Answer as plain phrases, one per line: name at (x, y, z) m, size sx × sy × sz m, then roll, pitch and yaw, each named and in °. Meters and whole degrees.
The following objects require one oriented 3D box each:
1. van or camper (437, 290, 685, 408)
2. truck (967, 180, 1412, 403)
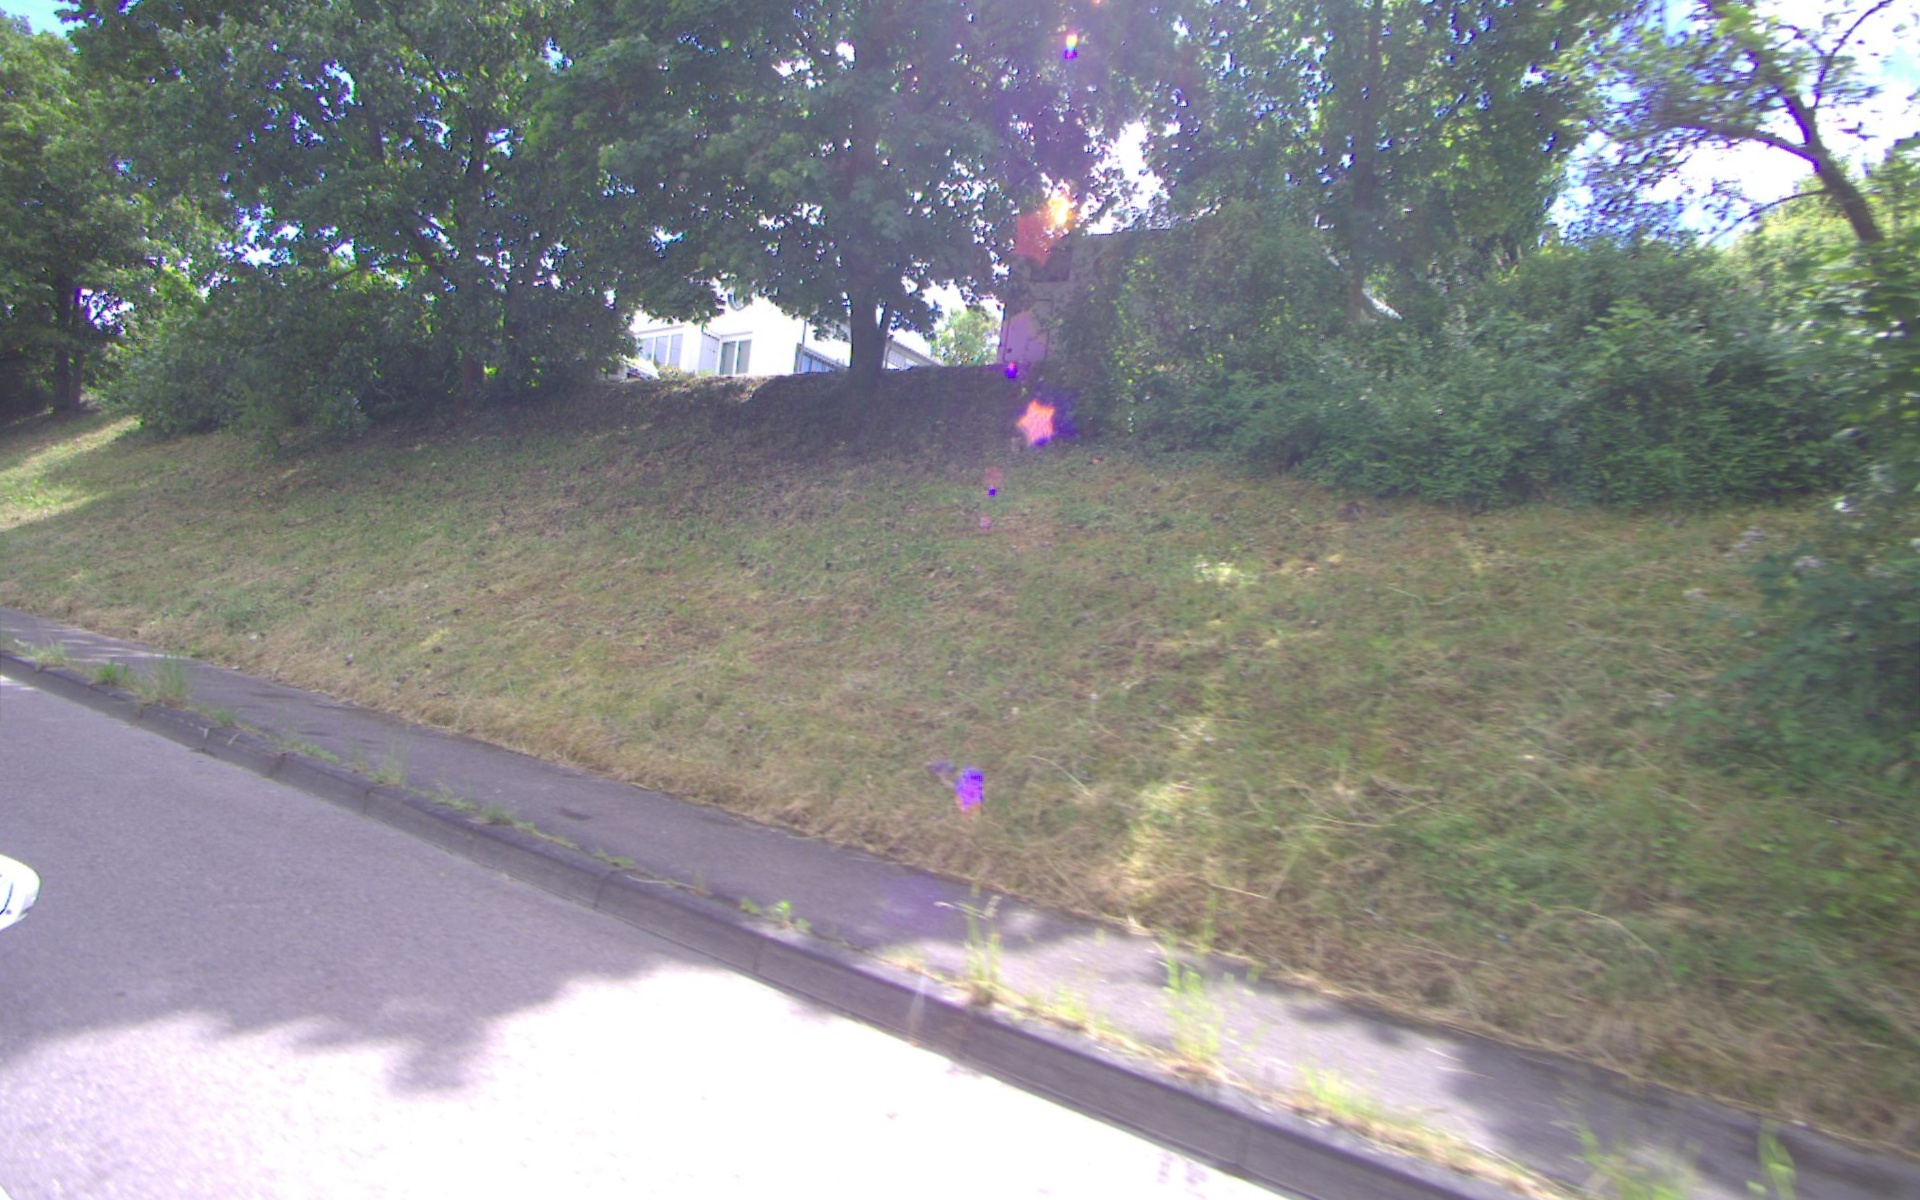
van or camper at (-10.047, -6.172, 25.168) m, size 6.056 × 2.094 × 2.222 m, roll 7°, pitch -1°, yaw 28°
truck at (3.851, -5.084, 17.511) m, size 6.919 × 2.690 × 2.356 m, roll 7°, pitch -1°, yaw 29°
